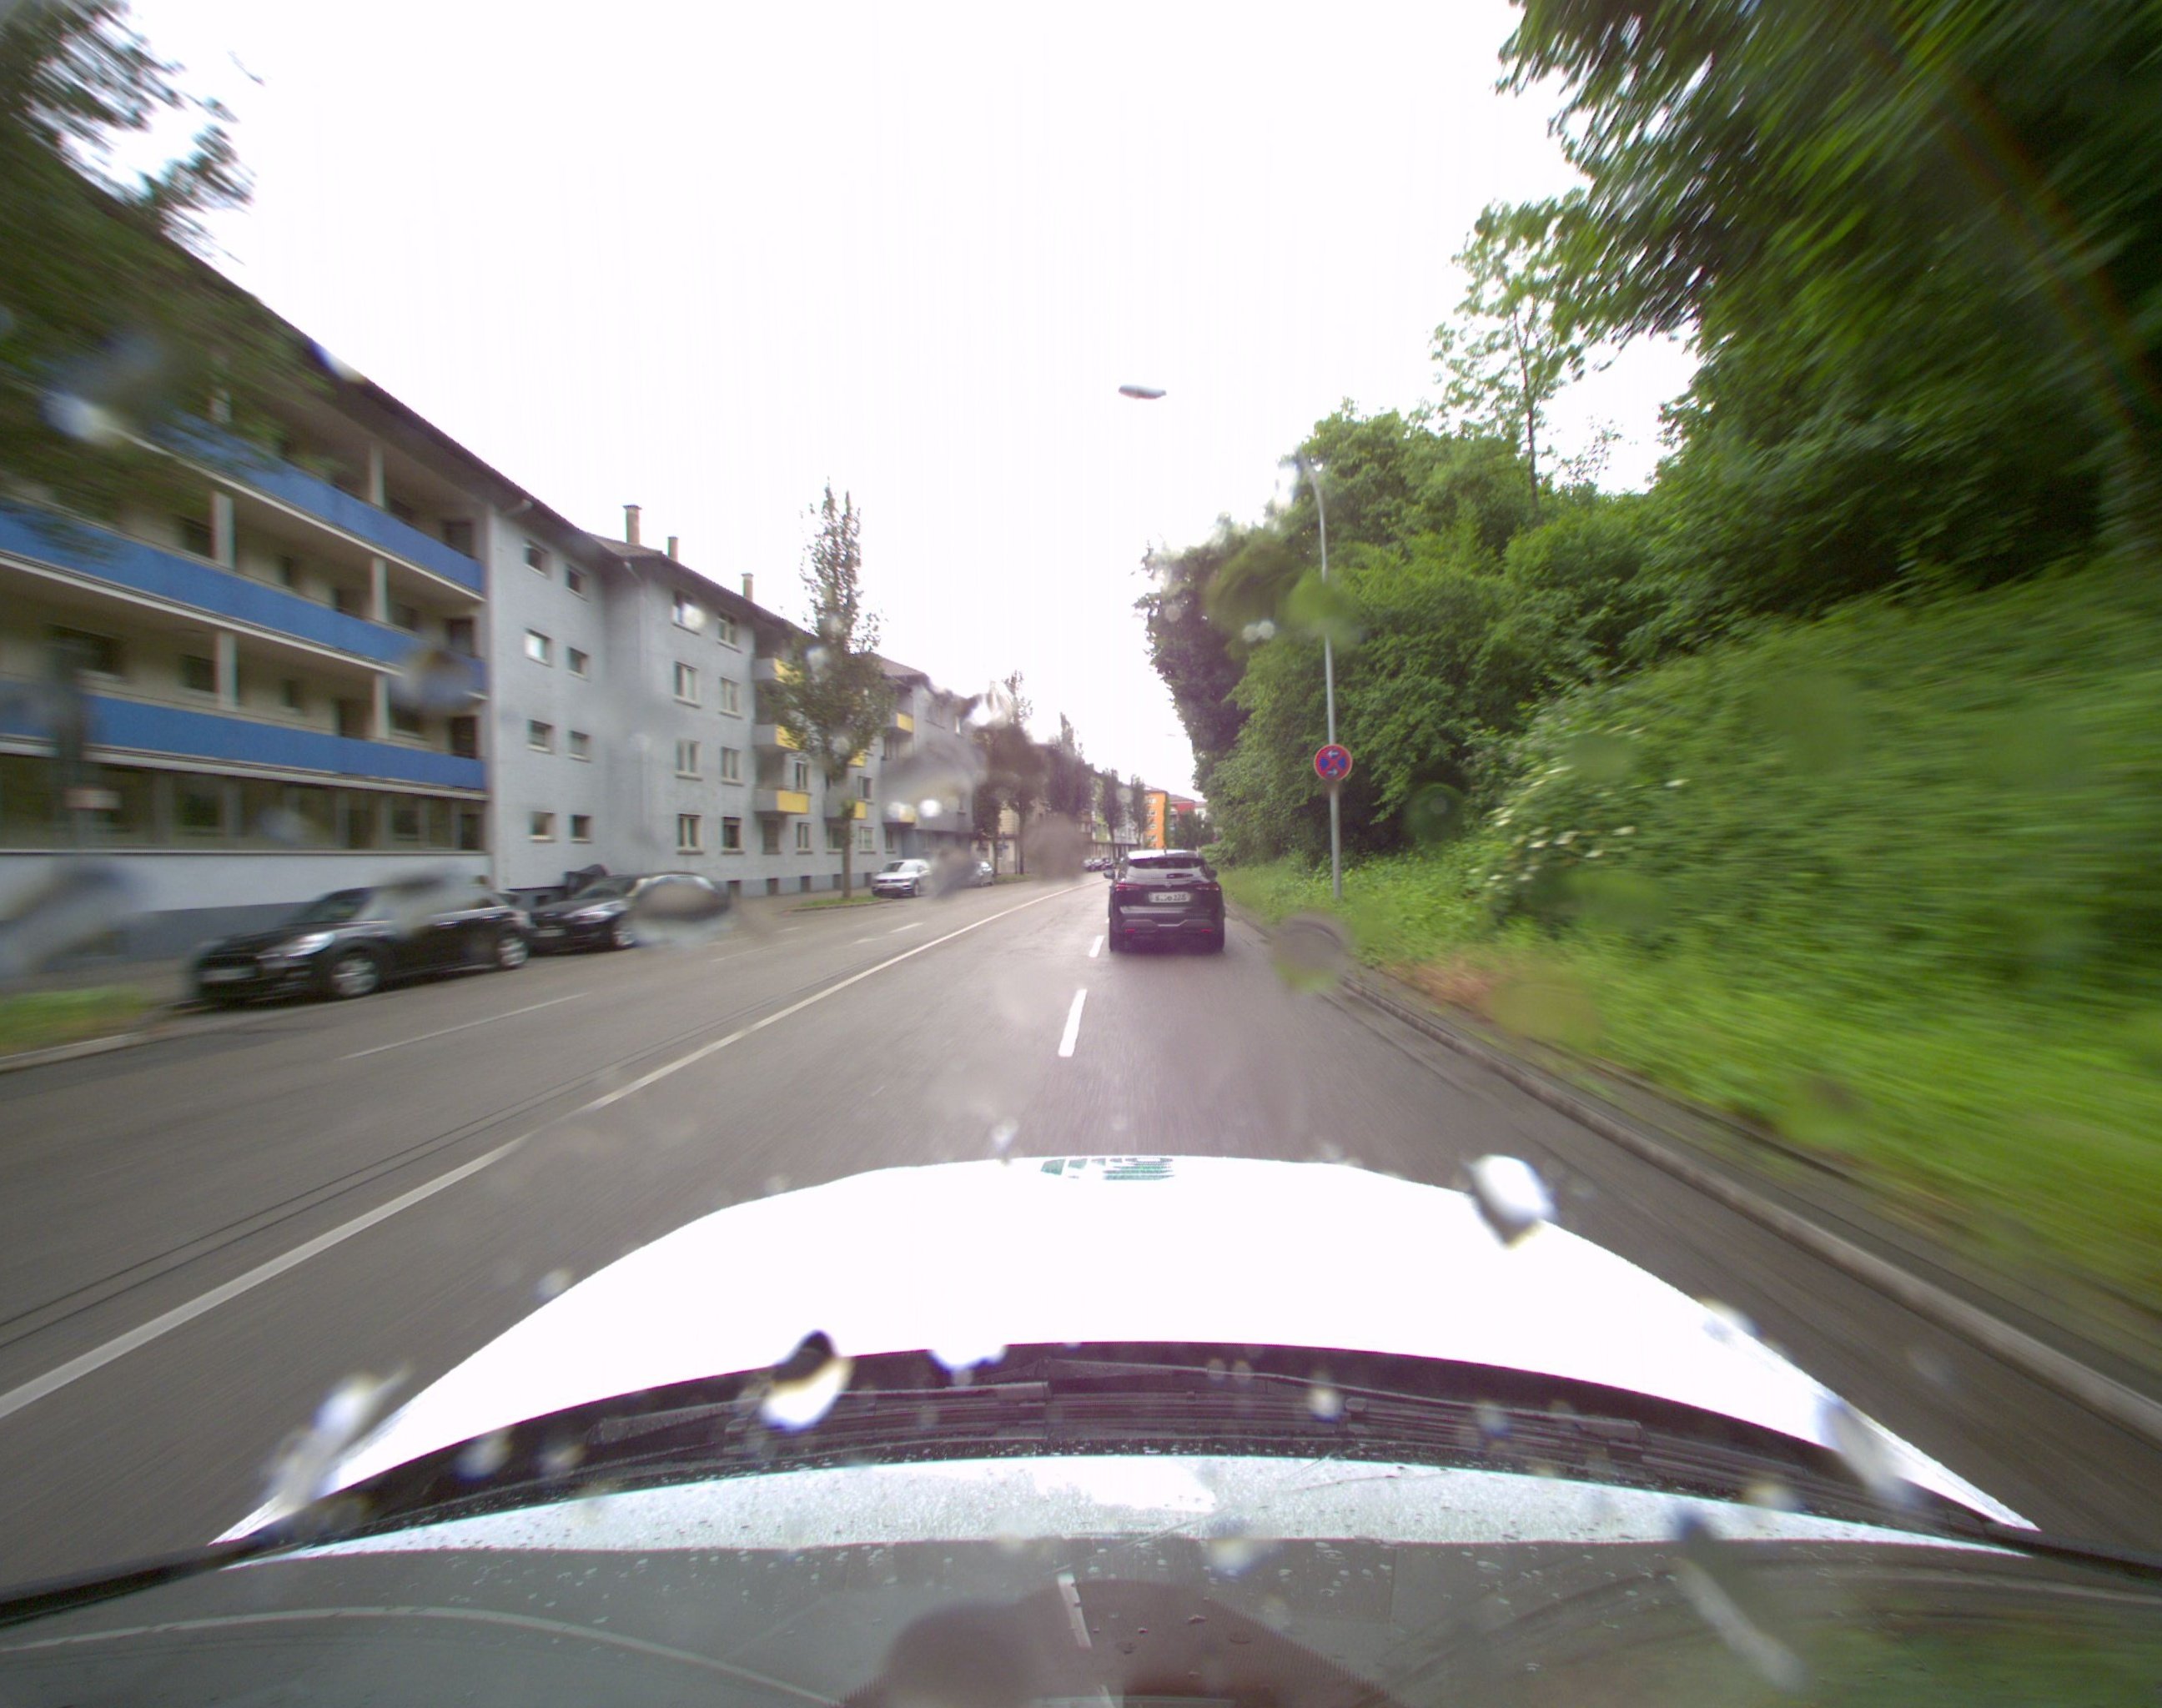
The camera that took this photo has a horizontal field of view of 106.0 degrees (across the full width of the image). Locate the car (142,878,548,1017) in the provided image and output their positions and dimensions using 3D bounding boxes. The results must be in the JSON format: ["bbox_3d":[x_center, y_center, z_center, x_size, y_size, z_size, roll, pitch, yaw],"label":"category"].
[{"bbox_3d":[-9.861,1.145,11.467,1.772,1.403,4.093,-3,0,4],"label":"car"}]

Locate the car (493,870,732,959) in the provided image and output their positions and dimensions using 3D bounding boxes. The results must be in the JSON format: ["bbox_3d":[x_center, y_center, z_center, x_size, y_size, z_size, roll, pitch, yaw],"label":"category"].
[{"bbox_3d":[-9.459,1.135,17.053,1.812,1.439,4.898,-3,-1,5],"label":"car"}]

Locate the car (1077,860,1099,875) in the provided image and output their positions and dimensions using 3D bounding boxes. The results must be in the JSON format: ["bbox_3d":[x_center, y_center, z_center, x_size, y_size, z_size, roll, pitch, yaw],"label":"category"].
[{"bbox_3d":[0.786,1.387,85.767,1.615,1.387,4.000,-2,0,11],"label":"car"}]

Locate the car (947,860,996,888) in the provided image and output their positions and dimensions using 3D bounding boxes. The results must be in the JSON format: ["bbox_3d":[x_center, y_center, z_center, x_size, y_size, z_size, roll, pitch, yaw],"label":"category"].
[{"bbox_3d":[-6.135,1.092,46.141,1.715,1.453,4.212,-2,-1,6],"label":"car"}]

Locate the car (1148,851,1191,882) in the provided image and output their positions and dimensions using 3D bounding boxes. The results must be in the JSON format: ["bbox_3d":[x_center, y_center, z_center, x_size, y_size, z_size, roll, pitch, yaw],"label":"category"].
[{"bbox_3d":[5.087,0.686,46.498,1.873,1.711,4.015,-1,0,14],"label":"car"}]

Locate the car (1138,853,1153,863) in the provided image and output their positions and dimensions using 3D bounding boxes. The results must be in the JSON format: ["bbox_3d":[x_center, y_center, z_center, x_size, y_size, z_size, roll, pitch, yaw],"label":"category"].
[{"bbox_3d":[10.783,0.651,135.443,1.677,1.358,4.595,-5,-1,13],"label":"car"}]

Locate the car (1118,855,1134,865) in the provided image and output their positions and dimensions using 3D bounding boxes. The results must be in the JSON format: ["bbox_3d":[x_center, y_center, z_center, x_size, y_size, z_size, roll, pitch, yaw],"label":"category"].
[{"bbox_3d":[6.557,0.889,117.929,1.669,1.376,4.013,-4,-1,12],"label":"car"}]

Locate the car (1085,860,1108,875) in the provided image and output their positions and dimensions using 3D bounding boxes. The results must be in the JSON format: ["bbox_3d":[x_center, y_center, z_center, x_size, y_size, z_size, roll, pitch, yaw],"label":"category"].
[{"bbox_3d":[1.773,1.519,92.093,1.806,1.489,4.802,-3,0,9],"label":"car"}]

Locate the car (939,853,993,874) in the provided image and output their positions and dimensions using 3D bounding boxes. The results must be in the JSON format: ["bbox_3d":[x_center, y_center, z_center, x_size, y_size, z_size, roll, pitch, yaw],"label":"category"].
[{"bbox_3d":[-9.842,0.813,70.078,4.124,1.579,1.932,-2,0,10],"label":"car"}]

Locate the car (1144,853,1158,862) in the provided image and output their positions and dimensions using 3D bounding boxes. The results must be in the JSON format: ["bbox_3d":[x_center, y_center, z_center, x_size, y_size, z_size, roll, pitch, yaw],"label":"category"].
[{"bbox_3d":[12.100,0.567,141.053,1.669,1.449,4.291,-4,-1,13],"label":"car"}]

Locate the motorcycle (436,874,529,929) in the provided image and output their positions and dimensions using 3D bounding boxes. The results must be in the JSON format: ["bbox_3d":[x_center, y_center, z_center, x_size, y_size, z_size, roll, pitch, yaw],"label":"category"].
[{"bbox_3d":[-14.980,1.165,20.466,0.673,1.254,2.236,1,0,0],"label":"motorcycle"}]

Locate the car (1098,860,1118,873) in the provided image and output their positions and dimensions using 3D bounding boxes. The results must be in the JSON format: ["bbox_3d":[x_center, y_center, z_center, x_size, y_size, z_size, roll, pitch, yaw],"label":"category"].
[{"bbox_3d":[3.402,1.509,101.226,1.707,1.489,4.528,-3,0,11],"label":"car"}]

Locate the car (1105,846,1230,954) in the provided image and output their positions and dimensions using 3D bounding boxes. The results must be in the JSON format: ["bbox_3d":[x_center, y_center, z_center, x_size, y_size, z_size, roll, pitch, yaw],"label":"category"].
[{"bbox_3d":[1.432,0.669,14.006,1.836,1.582,4.005,0,0,5],"label":"car"}]

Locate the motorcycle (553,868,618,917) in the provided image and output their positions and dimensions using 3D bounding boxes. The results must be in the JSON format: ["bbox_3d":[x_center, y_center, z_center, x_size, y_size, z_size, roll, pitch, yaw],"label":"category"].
[{"bbox_3d":[-15.129,1.148,24.955,0.673,1.414,2.234,1,0,-2],"label":"motorcycle"}]

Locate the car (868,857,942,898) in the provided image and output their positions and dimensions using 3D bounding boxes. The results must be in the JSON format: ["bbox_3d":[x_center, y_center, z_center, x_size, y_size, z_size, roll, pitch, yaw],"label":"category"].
[{"bbox_3d":[-7.544,0.969,35.331,1.755,1.604,4.540,-2,0,6],"label":"car"}]

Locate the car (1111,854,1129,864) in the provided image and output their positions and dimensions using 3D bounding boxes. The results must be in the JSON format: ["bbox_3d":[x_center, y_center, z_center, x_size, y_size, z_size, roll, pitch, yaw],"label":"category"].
[{"bbox_3d":[5.399,0.673,112.422,1.806,1.372,4.693,-3,0,10],"label":"car"}]
